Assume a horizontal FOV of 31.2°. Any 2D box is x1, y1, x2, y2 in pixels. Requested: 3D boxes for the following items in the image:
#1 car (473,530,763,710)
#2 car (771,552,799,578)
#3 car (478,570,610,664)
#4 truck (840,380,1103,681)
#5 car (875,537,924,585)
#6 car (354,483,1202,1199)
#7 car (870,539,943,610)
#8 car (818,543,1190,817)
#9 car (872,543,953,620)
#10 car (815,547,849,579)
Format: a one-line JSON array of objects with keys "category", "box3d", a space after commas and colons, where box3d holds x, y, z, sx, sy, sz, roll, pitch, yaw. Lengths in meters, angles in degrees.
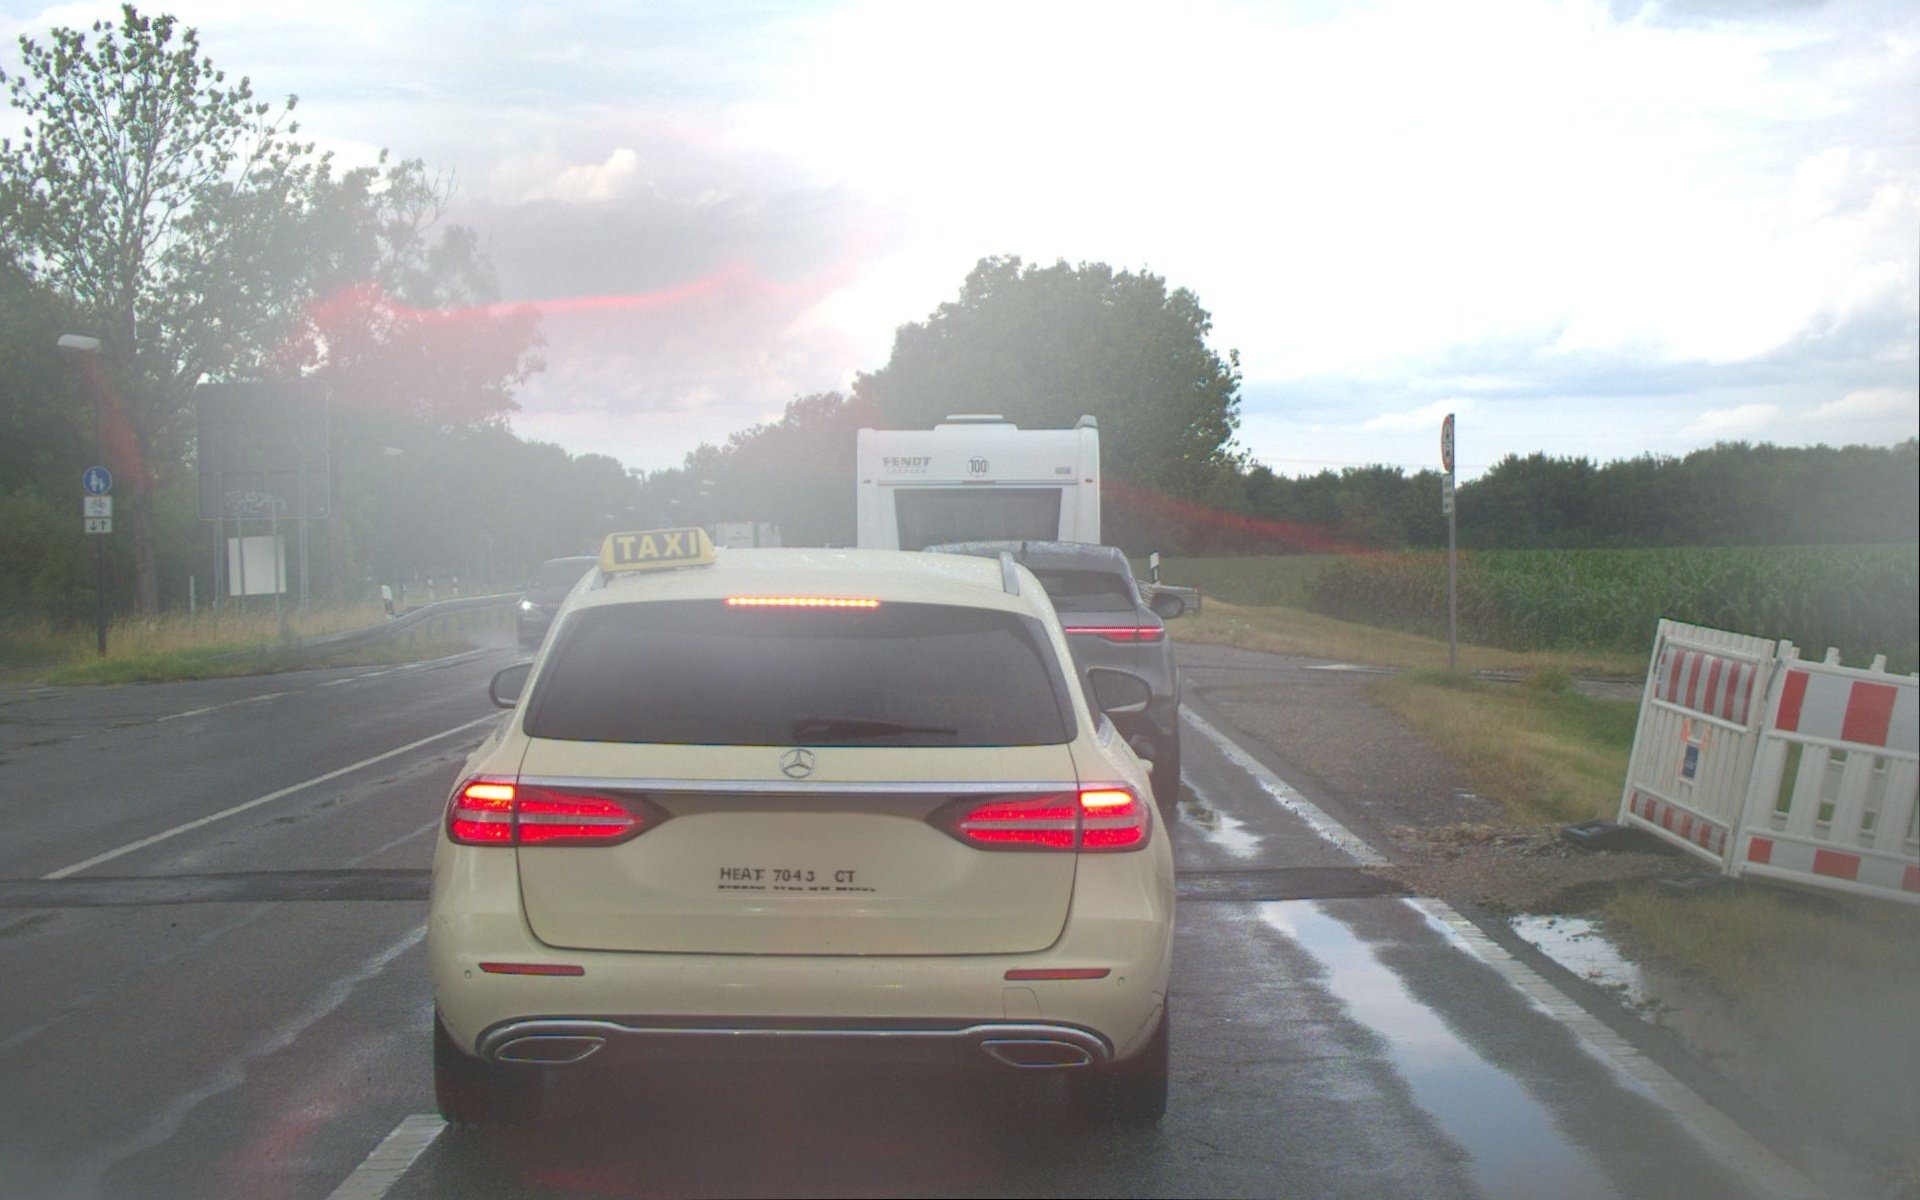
[{"category": "car", "box3d": [-3.133, 0.145, 32.486, 2.302, 1.542, 4.633, 1, 1, -1]}, {"category": "car", "box3d": [-12.689, -2.560, 249.529, 1.895, 1.833, 3.882, -1, 1, -1]}, {"category": "car", "box3d": [-6.858, 0.250, 57.007, 1.719, 1.399, 4.044, -3, 1, -1]}, {"category": "truck", "box3d": [0.069, -0.702, 35.243, 2.363, 2.719, 7.315, -1, 1, -1]}, {"category": "car", "box3d": [-2.256, -1.479, 129.447, 1.791, 1.771, 3.721, -1, 1, -1]}, {"category": "car", "box3d": [-0.419, 0.528, 9.504, 1.842, 1.612, 4.000, 0, 1, -1]}, {"category": "car", "box3d": [-1.536, -0.766, 100.522, 1.993, 2.007, 4.000, -1, 1, 1]}, {"category": "car", "box3d": [0.219, 0.410, 20.648, 1.993, 1.457, 4.000, 1, 1, -1]}, {"category": "car", "box3d": [-1.162, -0.481, 85.556, 1.915, 1.834, 3.796, -1, 1, 0]}, {"category": "car", "box3d": [-7.824, -2.247, 209.734, 1.895, 1.888, 3.844, -1, 1, -3]}]
